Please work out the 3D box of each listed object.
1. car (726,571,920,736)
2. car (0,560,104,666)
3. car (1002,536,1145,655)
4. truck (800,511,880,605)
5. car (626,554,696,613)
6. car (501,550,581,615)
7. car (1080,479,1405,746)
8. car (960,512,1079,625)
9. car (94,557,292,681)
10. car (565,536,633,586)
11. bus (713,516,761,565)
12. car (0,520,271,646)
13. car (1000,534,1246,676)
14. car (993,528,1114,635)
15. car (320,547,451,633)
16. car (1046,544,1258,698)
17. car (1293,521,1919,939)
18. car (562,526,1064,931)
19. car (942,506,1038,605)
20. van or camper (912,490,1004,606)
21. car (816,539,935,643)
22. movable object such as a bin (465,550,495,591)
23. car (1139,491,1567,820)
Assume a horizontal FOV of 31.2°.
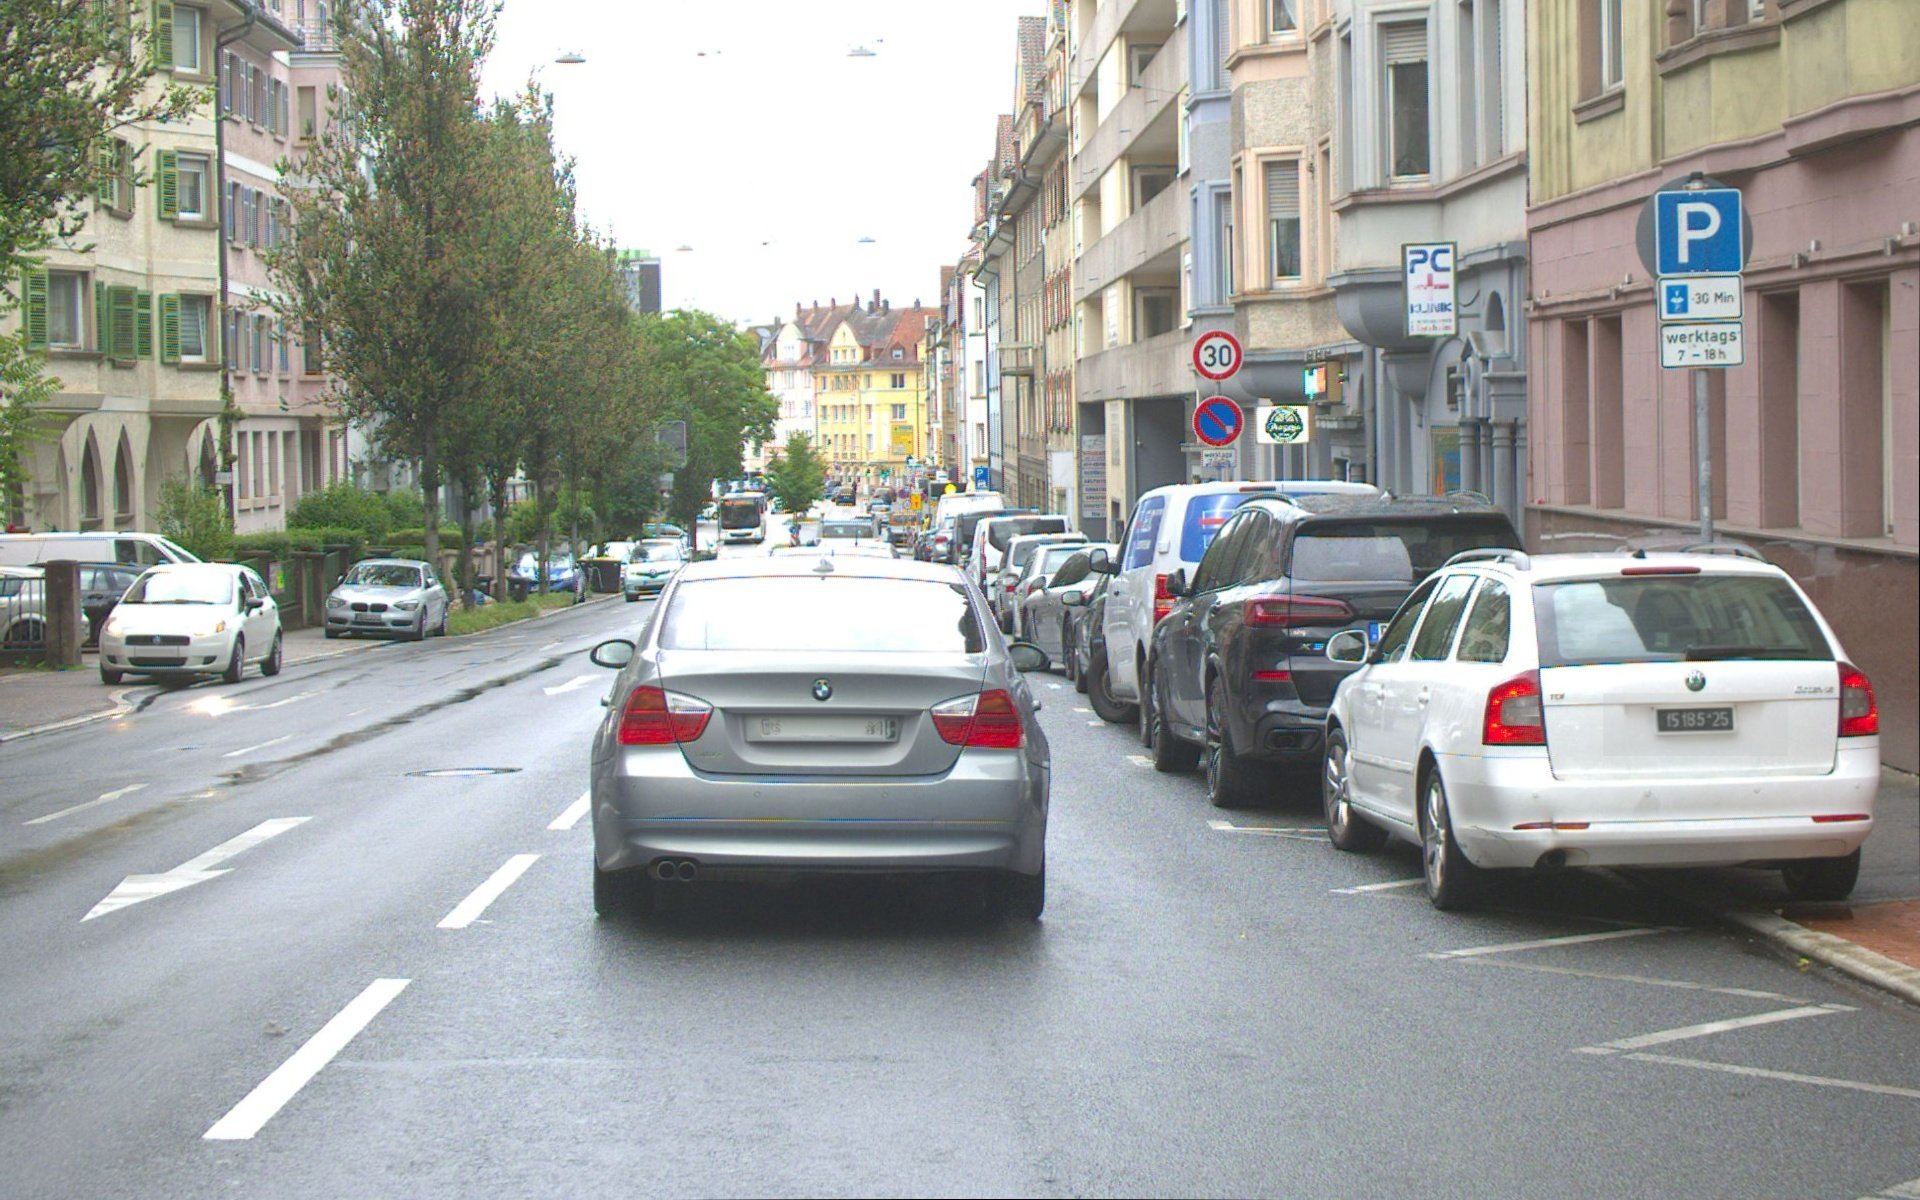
[{"bbox_3d":[-1.235,0.455,32.345,1.681,1.423,3.741,1,1,0],"label":"car"},{"bbox_3d":[-14.370,0.212,49.316,3.880,1.452,1.793,-2,1,-9],"label":"car"},{"bbox_3d":[1.445,-0.090,44.934,1.611,1.469,4.016,1,1,-2],"label":"car"},{"bbox_3d":[-3.209,-1.118,91.751,2.032,2.404,4.827,1,1,-2],"label":"truck"},{"bbox_3d":[-8.273,-0.479,95.274,1.636,1.503,3.755,-3,1,-2],"label":"car"},{"bbox_3d":[-11.112,-0.475,91.353,1.766,1.588,4.001,-3,1,-3],"label":"car"},{"bbox_3d":[2.073,0.043,26.632,1.919,1.821,5.010,-2,1,-2],"label":"car"},{"bbox_3d":[1.081,-0.621,65.044,1.982,2.000,4.625,-2,1,-2],"label":"car"},{"bbox_3d":[-9.585,0.207,43.226,1.621,1.441,4.005,-1,1,-1],"label":"car"},{"bbox_3d":[-11.840,-1.304,112.976,1.827,1.518,3.737,-3,1,0],"label":"car"},{"bbox_3d":[-14.294,-3.837,220.728,2.668,3.014,7.671,-2,1,-2],"label":"bus"},{"bbox_3d":[-14.169,-0.290,57.572,4.828,1.967,2.048,-1,1,-1],"label":"car"},{"bbox_3d":[1.725,0.018,38.131,1.875,1.462,4.776,1,1,-8],"label":"car"},{"bbox_3d":[1.547,-0.338,58.249,1.726,1.664,4.289,-3,1,-2],"label":"car"},{"bbox_3d":[-10.447,-0.199,62.723,1.726,1.478,3.989,1,0,-1],"label":"car"},{"bbox_3d":[1.786,0.158,33.098,1.677,1.370,4.276,0,1,-2],"label":"car"},{"bbox_3d":[2.710,0.454,15.271,1.798,1.559,4.493,1,1,-3],"label":"car"},{"bbox_3d":[-0.599,0.463,14.143,1.769,1.423,3.741,1,0,-2],"label":"car"},{"bbox_3d":[0.658,-1.039,79.650,1.982,2.158,4.750,-2,1,-2],"label":"car"},{"bbox_3d":[-0.006,-1.380,90.136,2.033,2.859,6.885,2,1,2],"label":"van or camper"},{"bbox_3d":[-1.297,-0.146,51.455,1.697,1.478,3.794,1,1,-2],"label":"car"},{"bbox_3d":[-11.024,-0.679,78.942,0.574,0.909,0.640,-2,1,-16],"label":"movable object such as a bin"},{"bbox_3d":[2.219,0.258,20.672,1.878,1.725,4.677,1,1,-2],"label":"car"}]
